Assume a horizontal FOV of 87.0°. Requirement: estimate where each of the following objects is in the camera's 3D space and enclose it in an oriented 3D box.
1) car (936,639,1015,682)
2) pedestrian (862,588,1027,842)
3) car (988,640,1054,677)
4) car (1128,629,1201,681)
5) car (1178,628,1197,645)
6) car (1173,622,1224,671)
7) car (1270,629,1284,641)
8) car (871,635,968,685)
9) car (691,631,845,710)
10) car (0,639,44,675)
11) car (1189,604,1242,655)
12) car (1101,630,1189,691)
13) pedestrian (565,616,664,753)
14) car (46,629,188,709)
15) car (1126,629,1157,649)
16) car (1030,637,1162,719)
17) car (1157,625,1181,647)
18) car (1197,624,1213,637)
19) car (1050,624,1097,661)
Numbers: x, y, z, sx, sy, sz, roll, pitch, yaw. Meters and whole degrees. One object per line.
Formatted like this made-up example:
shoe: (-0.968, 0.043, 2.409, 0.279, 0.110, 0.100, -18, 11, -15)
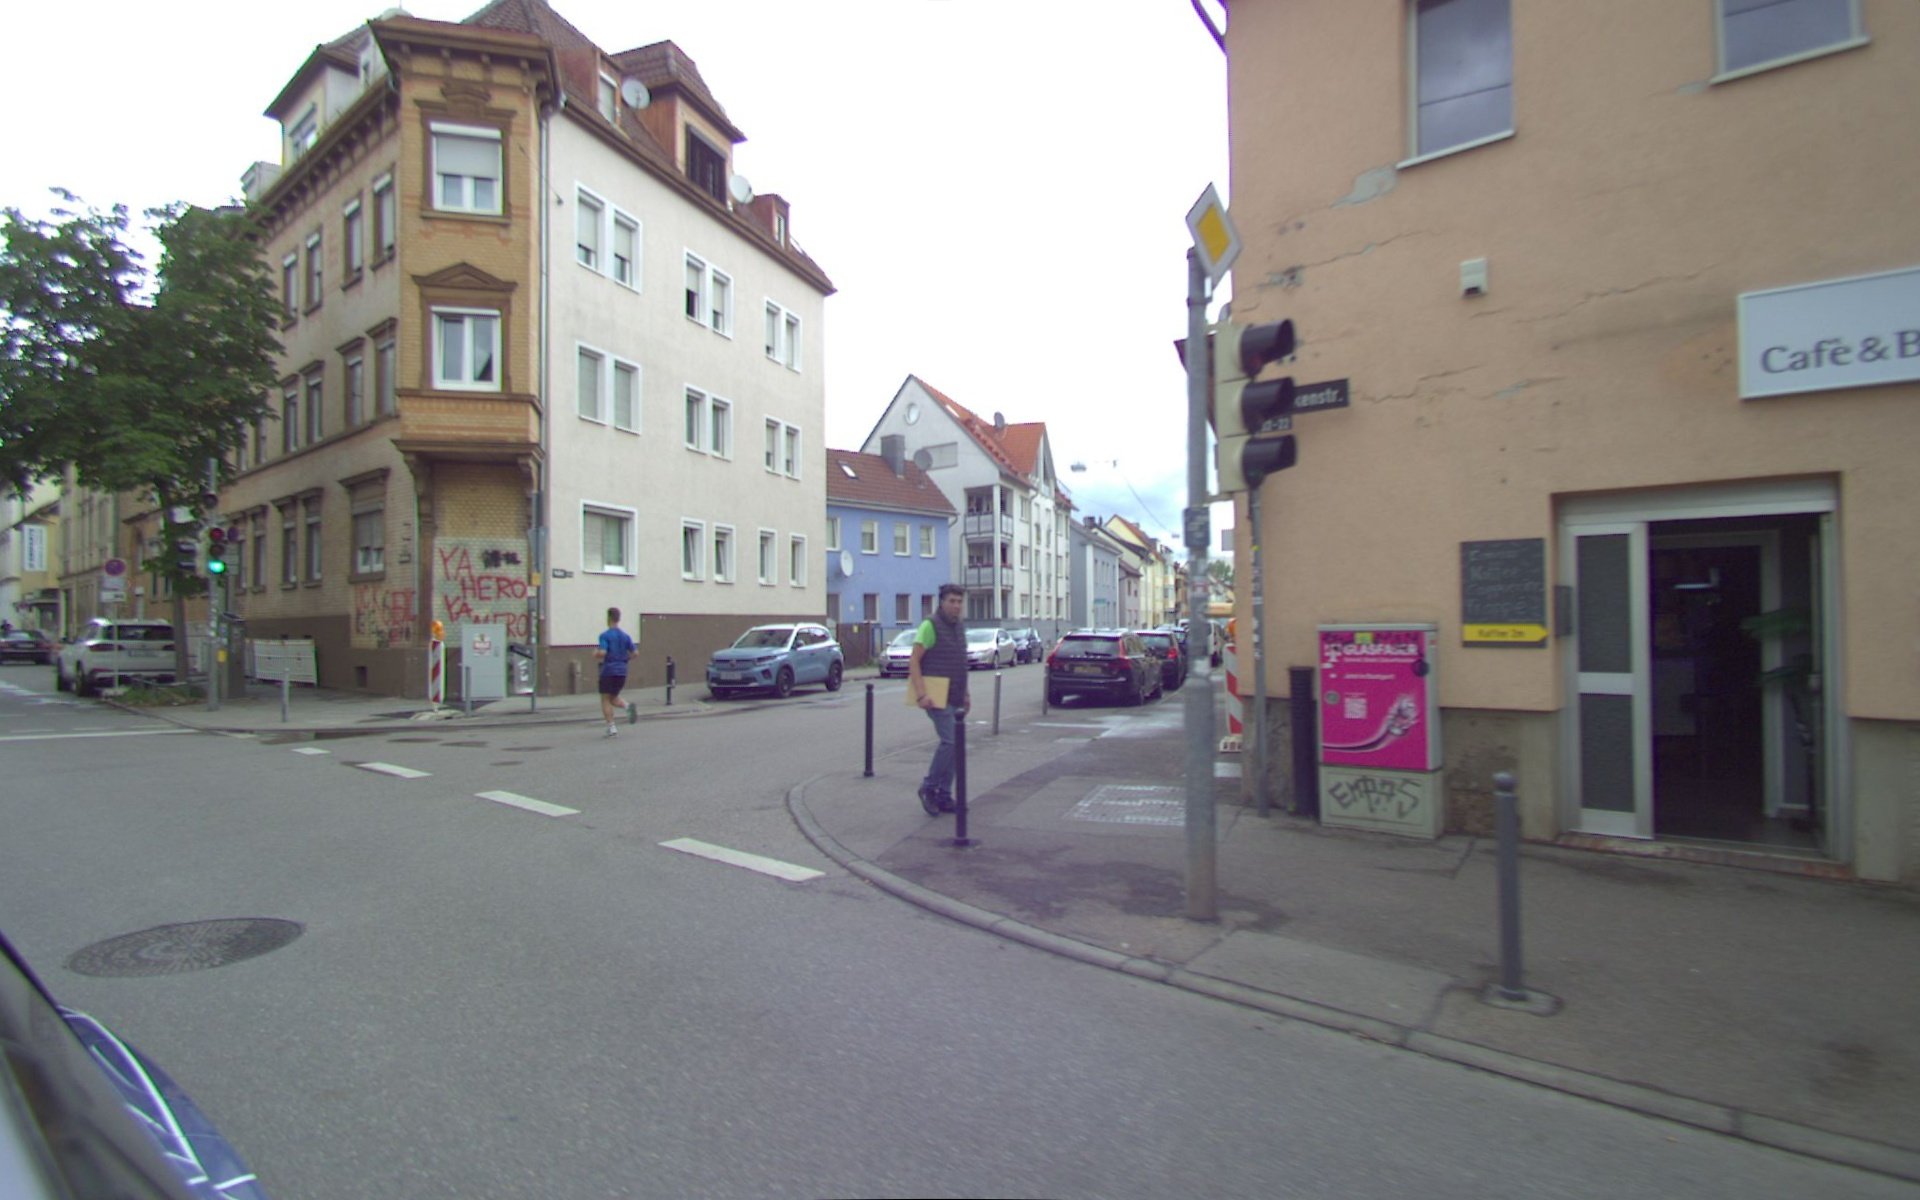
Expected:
car: (0.628, 2.173, 36.727, 1.745, 1.465, 3.824, -1, -3, 19)
pedestrian: (-0.124, 0.811, 7.651, 0.982, 1.768, 0.731, -2, -2, 41)
car: (2.559, 2.425, 41.926, 1.745, 1.465, 3.824, -1, -3, 19)
car: (6.238, 1.625, 30.577, 1.895, 1.455, 3.656, -1, -2, 16)
car: (25.907, 4.187, 115.145, 1.801, 1.894, 3.654, -1, -2, 18)
car: (9.751, 1.860, 41.220, 1.801, 1.894, 3.655, -1, -2, 17)
car: (52.928, 5.890, 168.838, 1.985, 2.029, 3.973, -1, -2, 20)
car: (-1.193, 1.851, 31.425, 1.745, 1.465, 3.824, -1, -3, 19)
car: (-4.163, 1.491, 22.477, 1.762, 1.563, 3.698, -1, -2, 19)
car: (-38.322, 2.267, 40.823, 4.353, 1.393, 1.562, -2, -3, 42)
car: (14.819, 1.718, 58.344, 2.308, 2.776, 6.829, -1, -2, 19)
car: (4.876, 1.521, 26.326, 1.895, 1.455, 3.666, -1, -2, 16)
pedestrian: (-4.627, 1.099, 13.541, 1.155, 1.731, 0.731, -2, -1, 38)
car: (-20.090, 1.583, 24.047, 4.739, 1.725, 1.871, -2, -4, 42)
car: (13.943, 3.017, 77.802, 1.745, 1.465, 3.824, -1, -3, 19)
car: (2.892, 1.500, 20.699, 1.897, 1.455, 4.360, -1, -2, 19)
car: (18.693, 3.200, 90.447, 1.801, 1.894, 3.654, -1, -2, 18)
car: (39.703, 4.951, 164.046, 1.985, 2.029, 3.973, -1, -2, 20)
car: (6.070, 2.225, 53.844, 1.801, 1.894, 3.654, -1, -2, 18)
